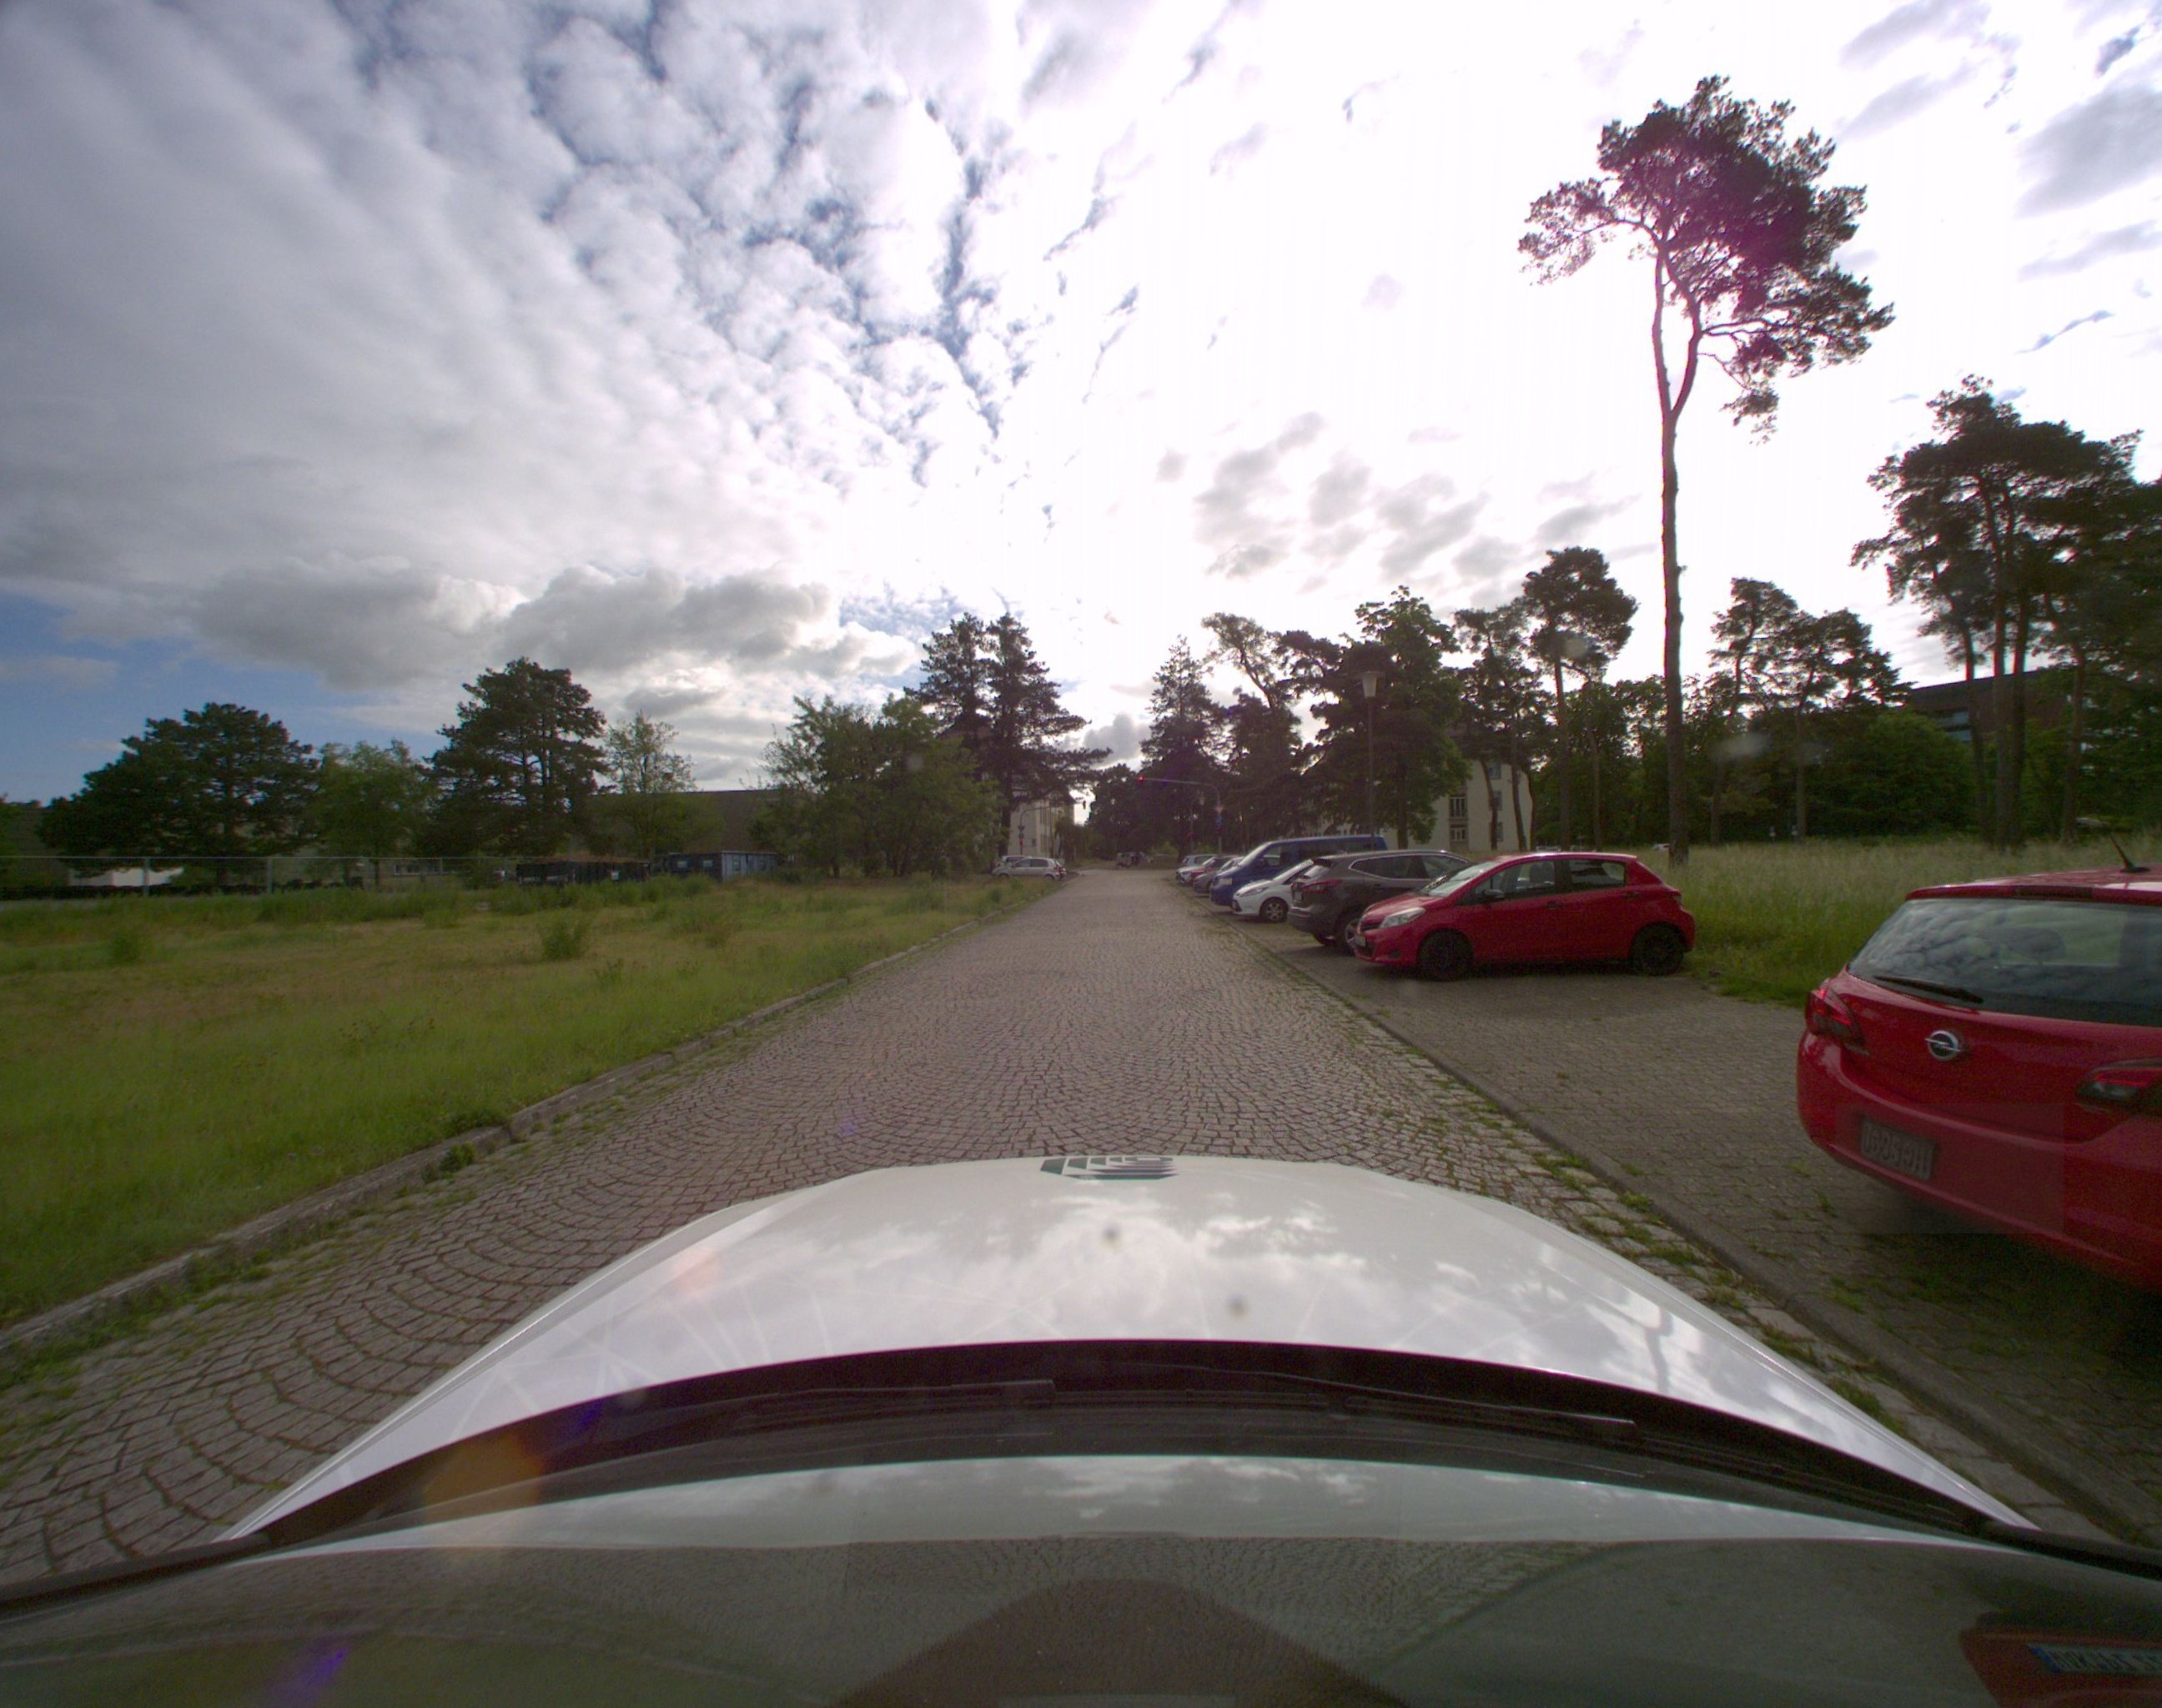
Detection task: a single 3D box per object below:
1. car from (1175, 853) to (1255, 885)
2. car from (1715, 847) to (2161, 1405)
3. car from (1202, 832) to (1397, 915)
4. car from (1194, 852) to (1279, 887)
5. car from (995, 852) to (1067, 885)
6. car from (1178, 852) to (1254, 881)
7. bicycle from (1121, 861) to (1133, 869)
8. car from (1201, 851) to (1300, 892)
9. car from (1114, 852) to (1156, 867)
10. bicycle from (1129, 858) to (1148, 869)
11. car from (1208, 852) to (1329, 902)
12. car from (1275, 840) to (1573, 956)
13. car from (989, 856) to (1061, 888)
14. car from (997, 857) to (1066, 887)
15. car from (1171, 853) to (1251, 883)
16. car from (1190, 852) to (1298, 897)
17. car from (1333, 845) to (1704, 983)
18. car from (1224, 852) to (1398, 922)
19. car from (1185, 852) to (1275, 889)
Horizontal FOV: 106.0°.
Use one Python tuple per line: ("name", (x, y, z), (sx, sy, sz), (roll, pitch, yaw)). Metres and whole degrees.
("car", (6.617, 0.728, 40.351), (3.662, 1.421, 1.523), (-3, -1, -2))
("car", (4.865, 0.697, 2.862), (3.811, 1.460, 1.780), (-3, -1, 2))
("car", (5.795, 0.511, 22.067), (4.737, 1.954, 1.932), (-3, -1, 1))
("car", (7.228, 0.705, 38.066), (3.659, 1.449, 1.524), (-3, -1, 1))
("car", (-3.060, 0.909, 50.653), (4.245, 1.840, 1.745), (-3, -1, 2))
("car", (7.581, 0.715, 45.823), (3.957, 1.421, 1.619), (-3, -1, -2))
("bicycle", (5.152, 1.205, 90.874), (0.623, 0.945, 1.649), (0, 0, -24))
("car", (6.837, 0.710, 33.084), (3.659, 1.449, 1.524), (-3, -1, 1))
("car", (7.457, 0.748, 112.792), (5.439, 2.014, 2.264), (-1, 0, -6))
("bicycle", (6.680, 1.105, 94.882), (2.131, 1.215, 0.621), (-1, -1, -2))
("car", (6.236, 0.749, 27.333), (3.659, 1.449, 1.524), (-3, -1, 1))
("car", (5.349, 0.670, 13.100), (4.015, 1.552, 1.751), (-3, -1, 0))
("car", (-3.057, 1.009, 45.238), (3.810, 1.572, 1.564), (-3, -1, -1))
("car", (-2.878, 1.054, 47.651), (3.806, 1.572, 1.565), (-3, -1, 2))
("car", (6.864, 0.740, 43.200), (3.957, 1.421, 1.619), (-3, -1, -2))
("car", (5.971, 0.734, 30.130), (3.659, 1.449, 1.524), (-3, -1, 1))
("car", (5.402, 0.718, 10.458), (3.776, 1.460, 1.752), (-3, -1, 3))
("car", (5.411, 0.762, 19.485), (3.659, 1.449, 1.615), (-3, -1, 0))
("car", (6.512, 0.708, 35.810), (3.659, 1.449, 1.524), (-3, -1, 1))
